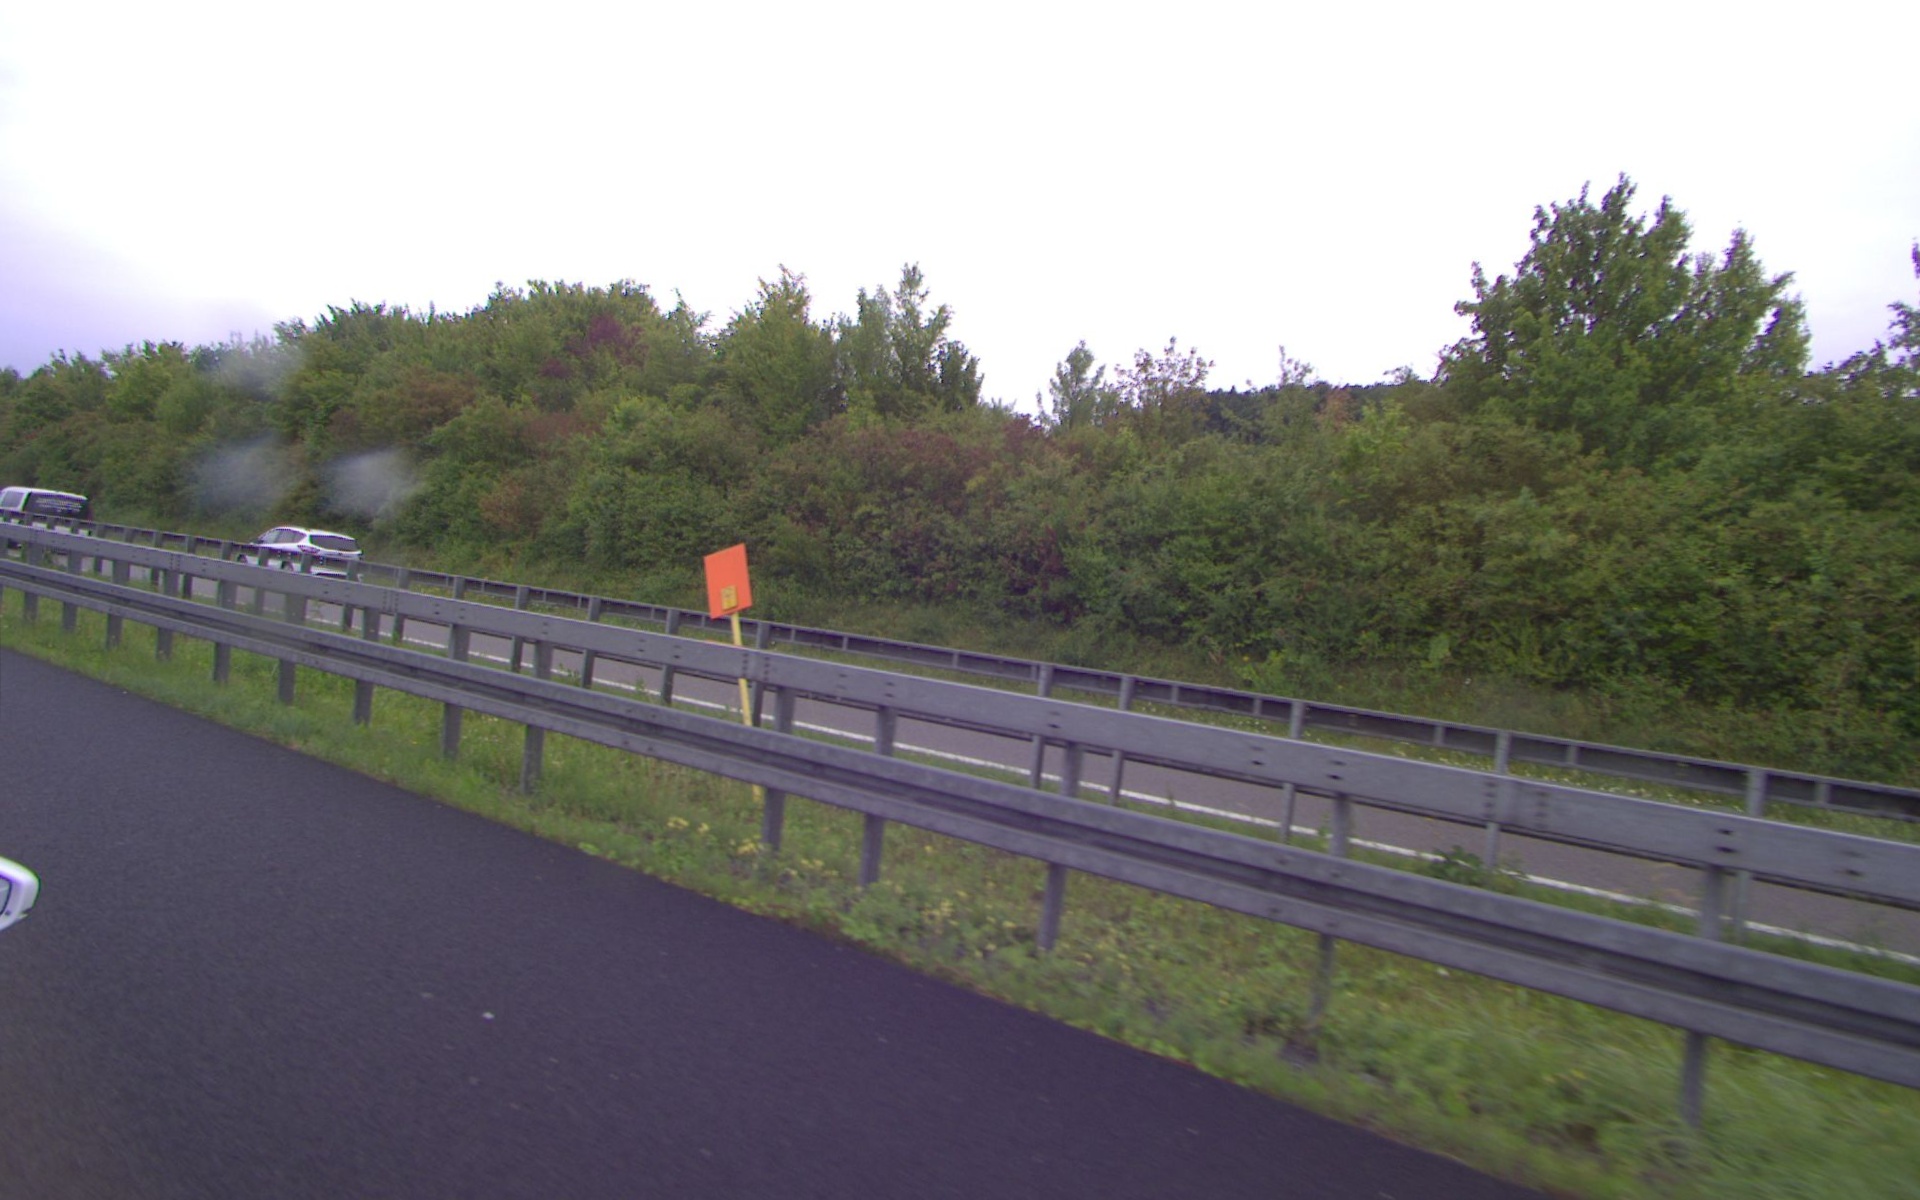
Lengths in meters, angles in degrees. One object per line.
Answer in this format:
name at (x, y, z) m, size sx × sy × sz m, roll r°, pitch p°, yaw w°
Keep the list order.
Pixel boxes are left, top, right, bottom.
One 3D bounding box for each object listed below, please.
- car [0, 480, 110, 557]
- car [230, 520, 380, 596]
car at (-27.595, -2.486, 29.975) m, size 4.203 × 1.836 × 2.012 m, roll 7°, pitch -1°, yaw 30°
car at (-18.626, -1.206, 28.575) m, size 4.077 × 1.632 × 1.899 m, roll 7°, pitch -1°, yaw 32°
